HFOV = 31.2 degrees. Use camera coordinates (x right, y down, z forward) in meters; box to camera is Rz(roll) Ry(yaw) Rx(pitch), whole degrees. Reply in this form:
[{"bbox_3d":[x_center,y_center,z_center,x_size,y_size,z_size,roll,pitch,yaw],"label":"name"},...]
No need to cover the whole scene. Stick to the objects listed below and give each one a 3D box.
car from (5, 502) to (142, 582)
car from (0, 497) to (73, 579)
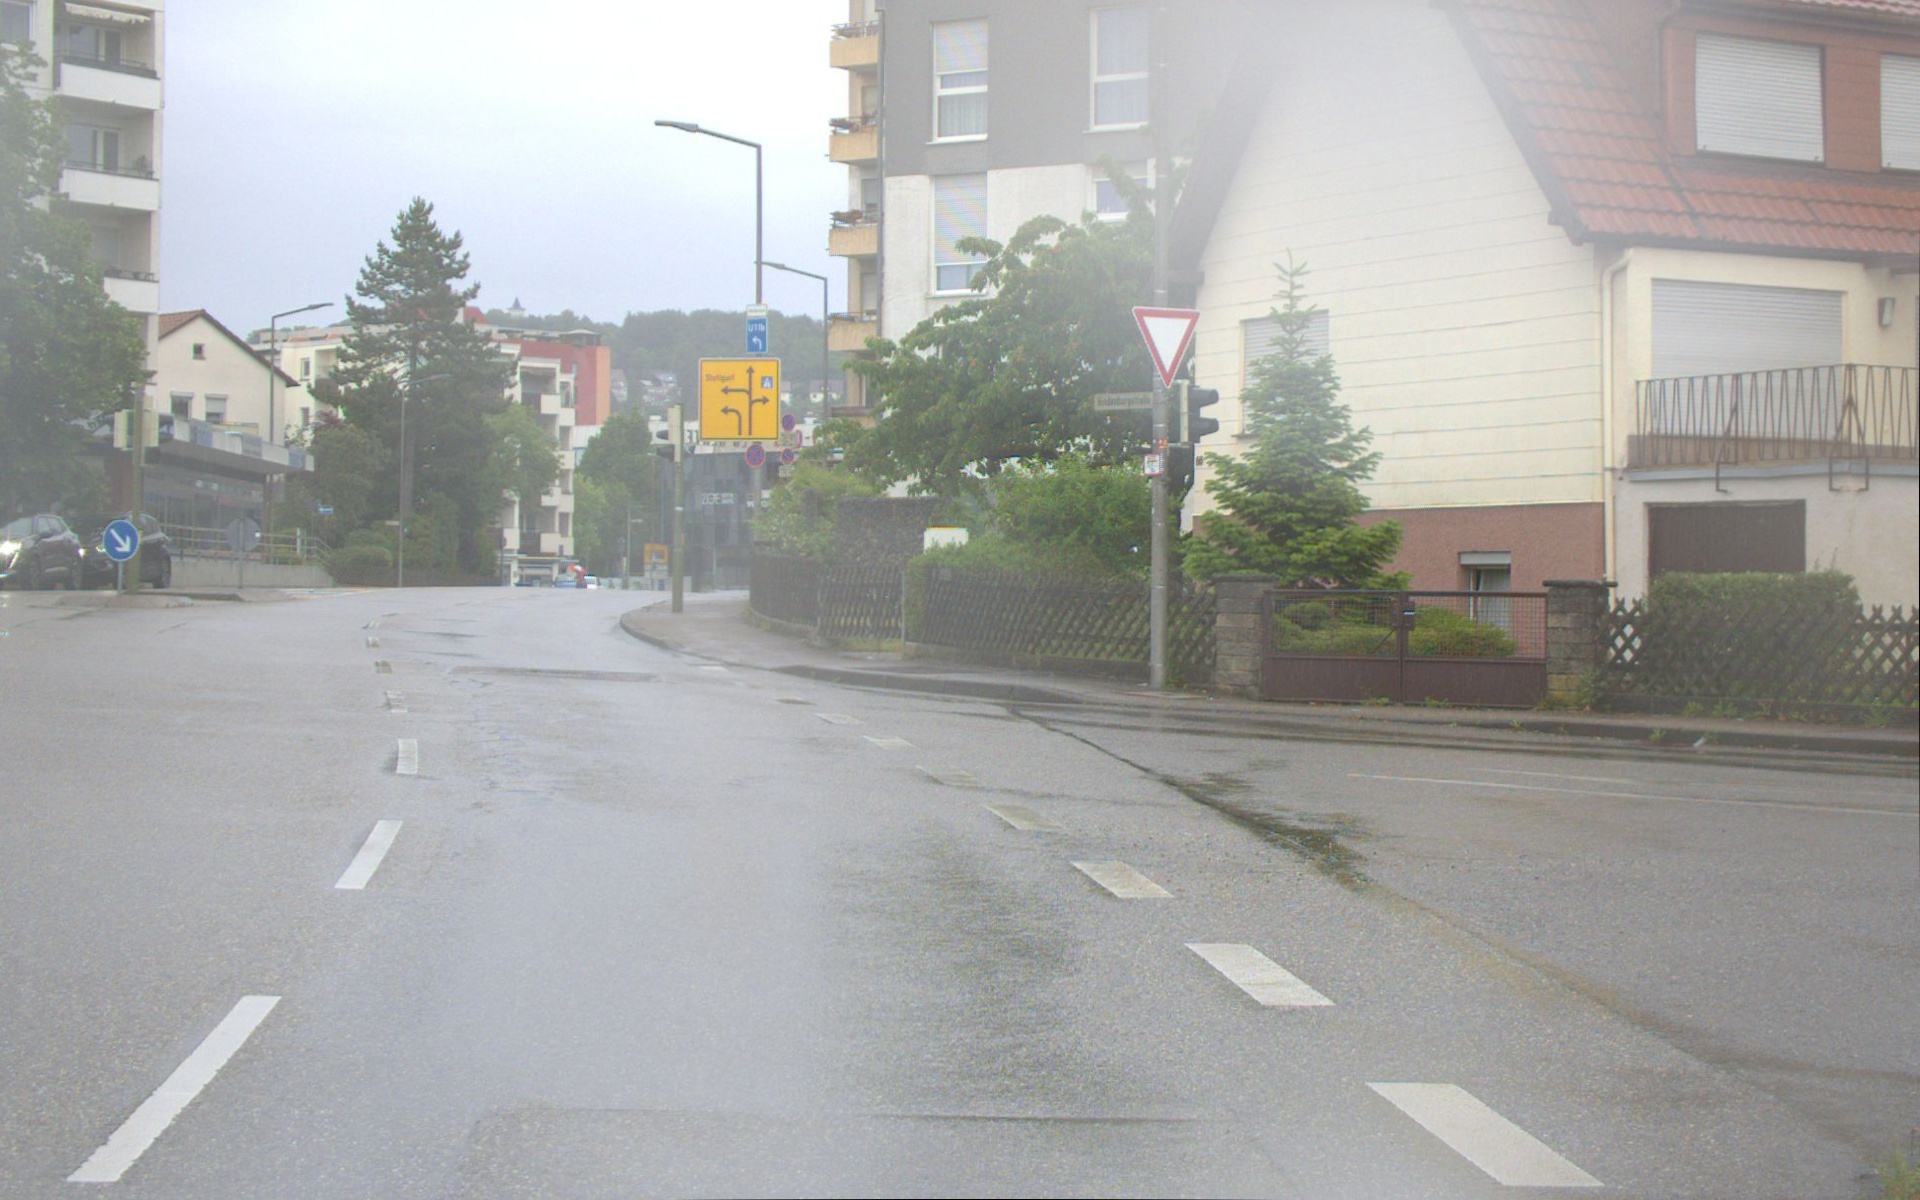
[{"bbox_3d":[-18.328,-1.185,71.247,1.879,1.592,4.185,1,1,-2],"label":"car"},{"bbox_3d":[-18.396,-1.186,65.746,1.967,1.507,4.000,1,1,-2],"label":"car"}]
